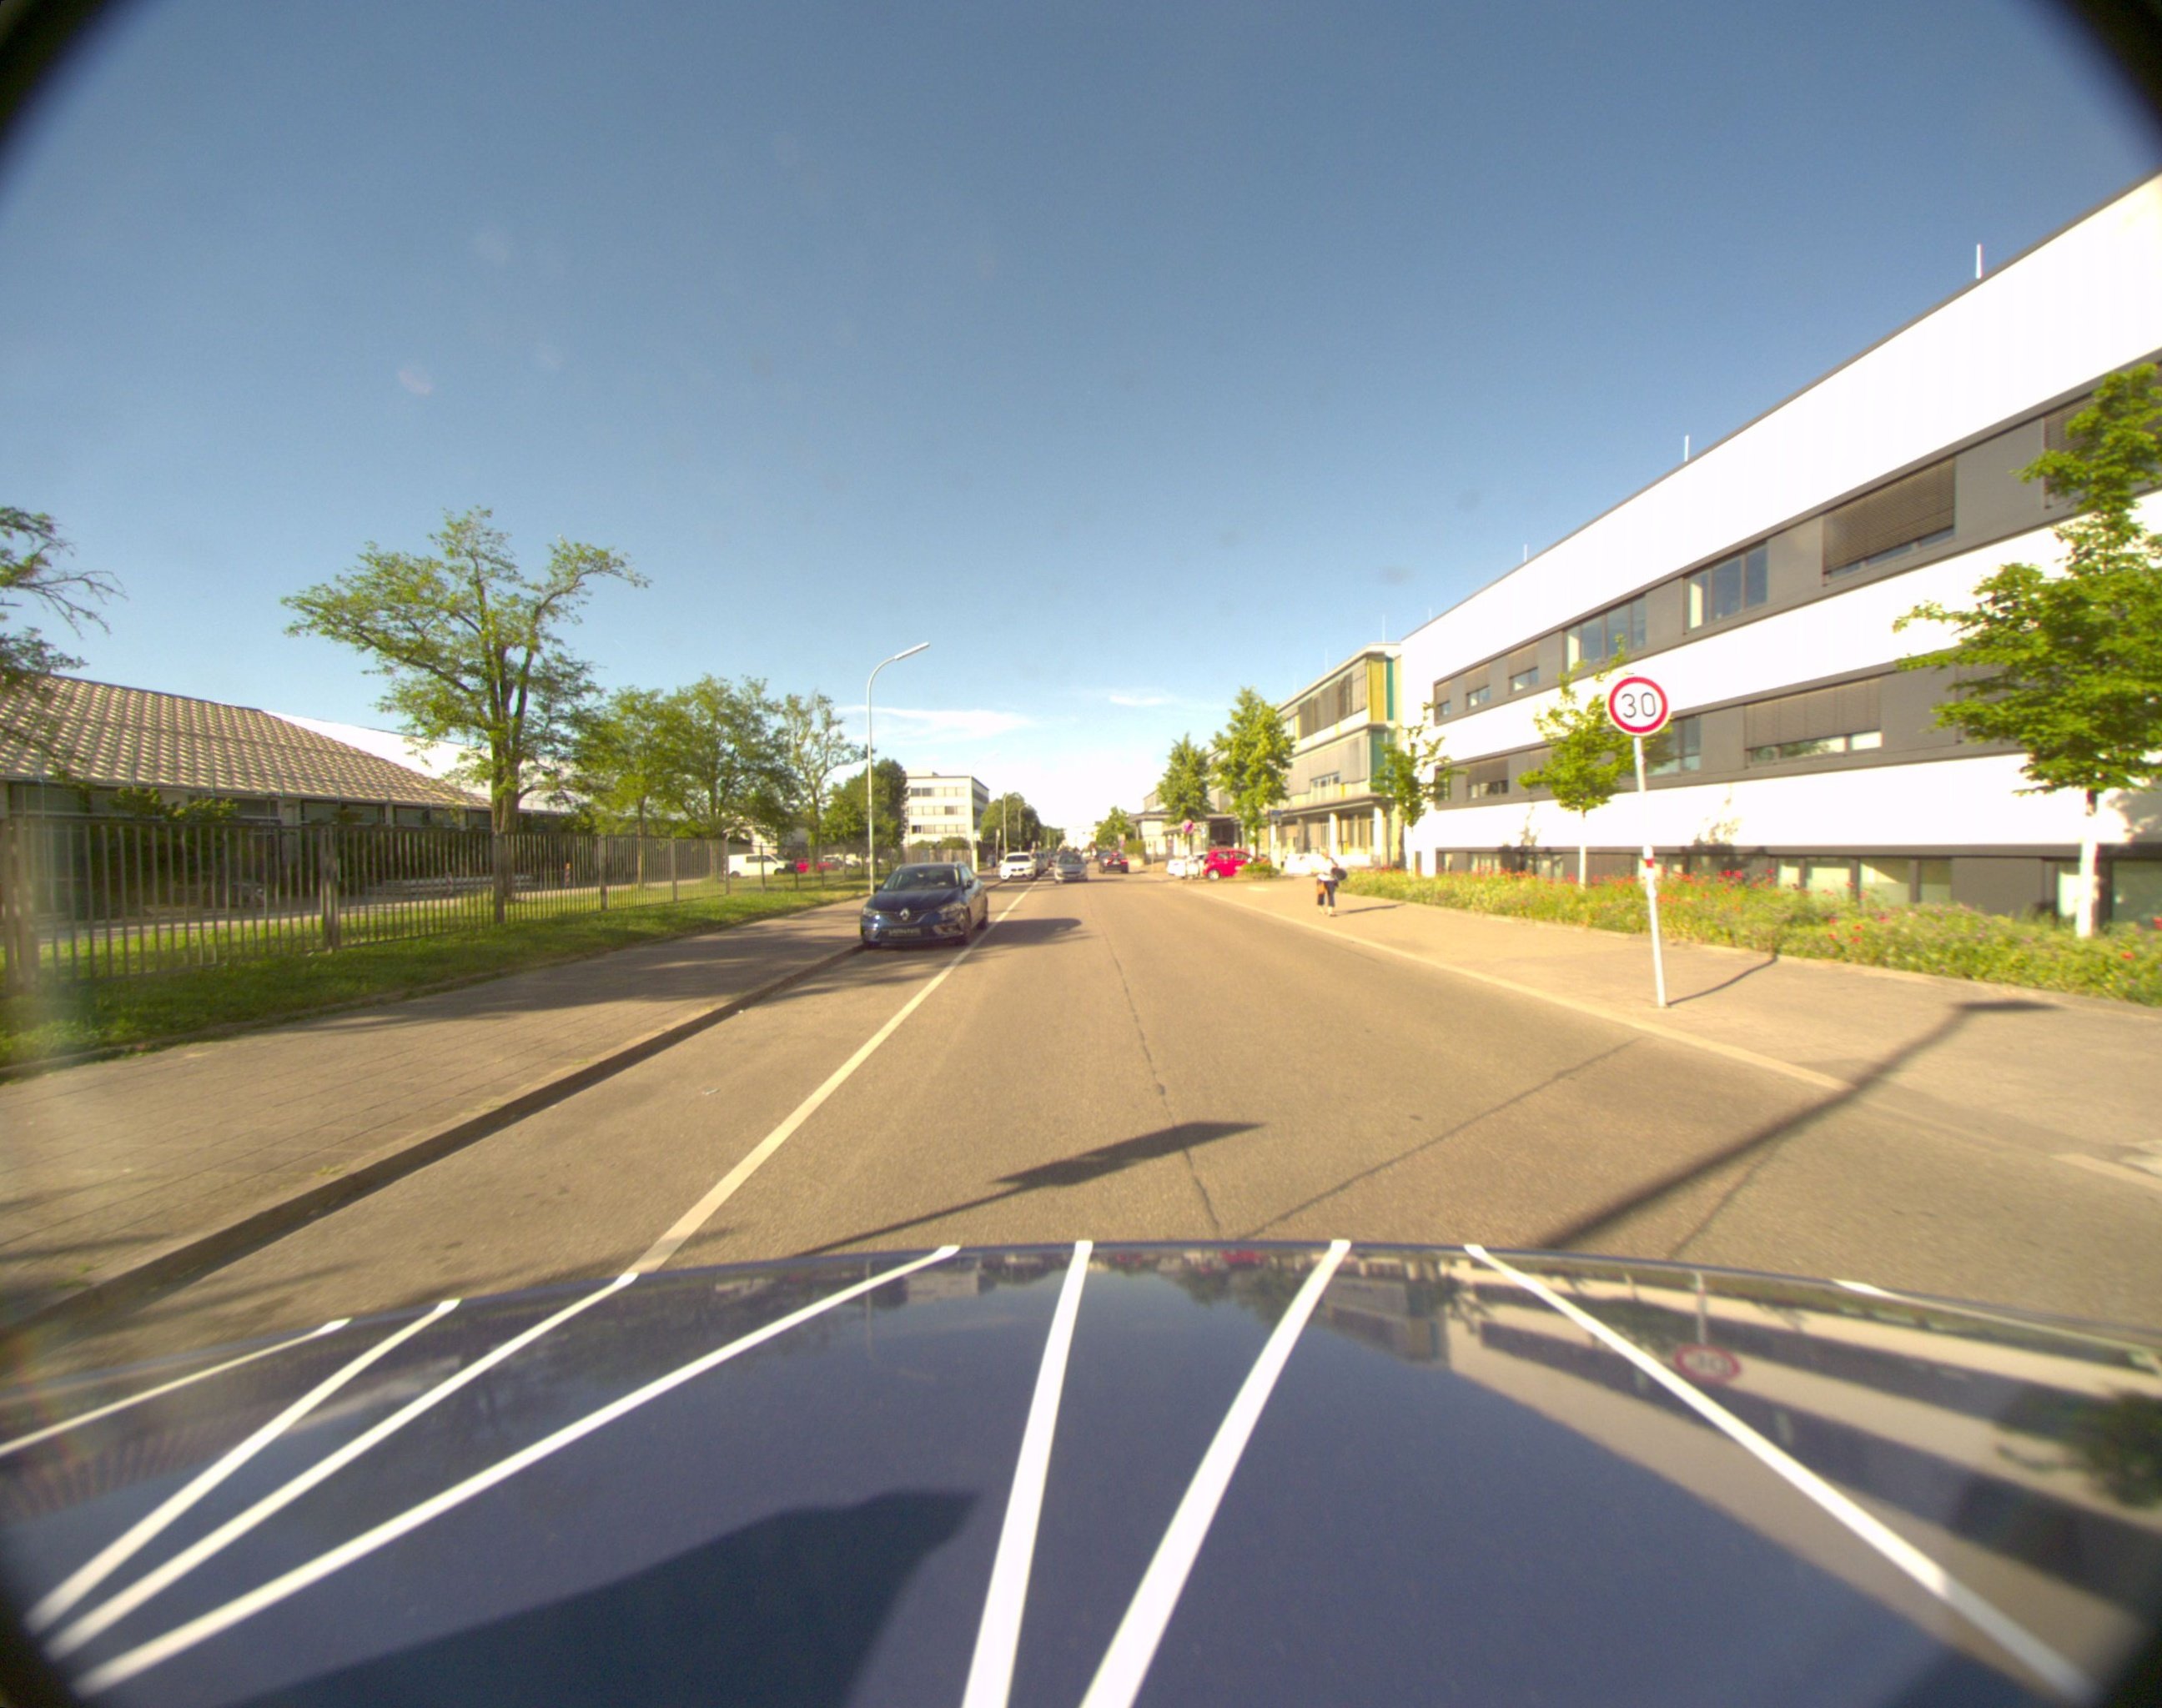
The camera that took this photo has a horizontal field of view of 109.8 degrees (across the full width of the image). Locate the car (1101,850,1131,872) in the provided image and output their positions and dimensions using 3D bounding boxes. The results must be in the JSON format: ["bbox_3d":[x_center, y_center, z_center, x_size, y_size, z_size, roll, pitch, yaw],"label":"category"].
[{"bbox_3d":[2.407,0.464,53.629,1.766,1.434,4.536,-1,1,-1],"label":"car"}]

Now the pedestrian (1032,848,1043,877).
[{"bbox_3d":[-2.606,0.496,45.493,0.521,1.699,0.523,-3,2,6],"label":"pedestrian"}]

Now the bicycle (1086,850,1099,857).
[{"bbox_3d":[1.811,-0.062,115.719,1.885,1.003,0.701,-1,1,-5],"label":"bicycle"}]

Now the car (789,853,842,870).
[{"bbox_3d":[-24.059,0.650,68.936,4.154,1.245,1.828,-3,1,-3],"label":"car"}]

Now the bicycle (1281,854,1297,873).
[{"bbox_3d":[12.613,0.536,46.097,0.536,1.105,1.861,-1,1,2],"label":"bicycle"}]

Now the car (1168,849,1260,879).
[{"bbox_3d":[6.897,0.510,39.742,4.522,1.359,1.700,-3,1,2],"label":"car"}]

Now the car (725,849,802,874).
[{"bbox_3d":[-24.611,0.595,59.017,4.980,1.635,2.094,-3,1,-3],"label":"car"}]

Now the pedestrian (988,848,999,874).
[{"bbox_3d":[-5.699,0.439,49.351,0.540,1.602,0.683,-3,2,0],"label":"pedestrian"}]

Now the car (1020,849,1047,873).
[{"bbox_3d":[-3.456,0.500,56.038,1.705,1.597,4.352,-3,1,0],"label":"car"}]

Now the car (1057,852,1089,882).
[{"bbox_3d":[-0.412,0.642,39.550,1.551,1.389,3.453,-2,1,0],"label":"car"}]

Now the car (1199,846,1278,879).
[{"bbox_3d":[7.752,0.400,37.669,3.642,1.460,1.614,-2,0,6],"label":"car"}]

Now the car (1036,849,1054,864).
[{"bbox_3d":[-3.847,0.232,81.683,1.814,1.501,4.720,-3,1,-2],"label":"car"}]

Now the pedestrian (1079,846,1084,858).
[{"bbox_3d":[0.017,-0.249,107.891,0.693,1.719,0.775,0,1,-2],"label":"pedestrian"}]

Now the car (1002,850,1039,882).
[{"bbox_3d":[-3.340,0.638,42.549,1.818,1.579,4.260,-3,1,-2],"label":"car"}]

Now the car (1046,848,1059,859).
[{"bbox_3d":[-4.274,-0.081,114.978,1.668,1.505,4.113,-3,1,0],"label":"car"}]

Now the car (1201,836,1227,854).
[{"bbox_3d":[14.677,-1.016,84.079,1.924,1.880,4.710,-1,1,-1],"label":"car"}]

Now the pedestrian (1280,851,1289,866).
[{"bbox_3d":[15.734,0.325,58.645,0.533,1.166,0.556,-1,1,0],"label":"pedestrian"}]

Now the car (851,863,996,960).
[{"bbox_3d":[-2.787,0.960,14.421,1.822,1.444,4.213,-2,1,0],"label":"car"}]

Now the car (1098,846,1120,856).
[{"bbox_3d":[5.689,-0.643,155.774,4.359,1.852,2.000,-3,1,0],"label":"car"}]

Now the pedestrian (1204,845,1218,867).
[{"bbox_3d":[9.418,0.132,55.044,0.775,1.540,0.780,-3,2,-1],"label":"pedestrian"}]

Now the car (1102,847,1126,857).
[{"bbox_3d":[5.861,-0.338,133.983,3.992,1.480,1.823,-3,2,-3],"label":"car"}]

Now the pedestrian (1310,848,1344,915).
[{"bbox_3d":[5.683,0.627,17.586,0.539,1.515,0.607,-3,1,0],"label":"pedestrian"}]

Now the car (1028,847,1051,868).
[{"bbox_3d":[-3.534,0.276,65.311,1.814,1.712,4.703,-3,1,-2],"label":"car"}]

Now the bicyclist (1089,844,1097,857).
[{"bbox_3d":[1.768,-0.518,115.695,1.052,2.002,0.959,-2,2,-5],"label":"bicyclist"}]

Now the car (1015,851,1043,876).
[{"bbox_3d":[-3.392,0.607,50.283,1.705,1.479,3.979,-3,1,-3],"label":"car"}]
